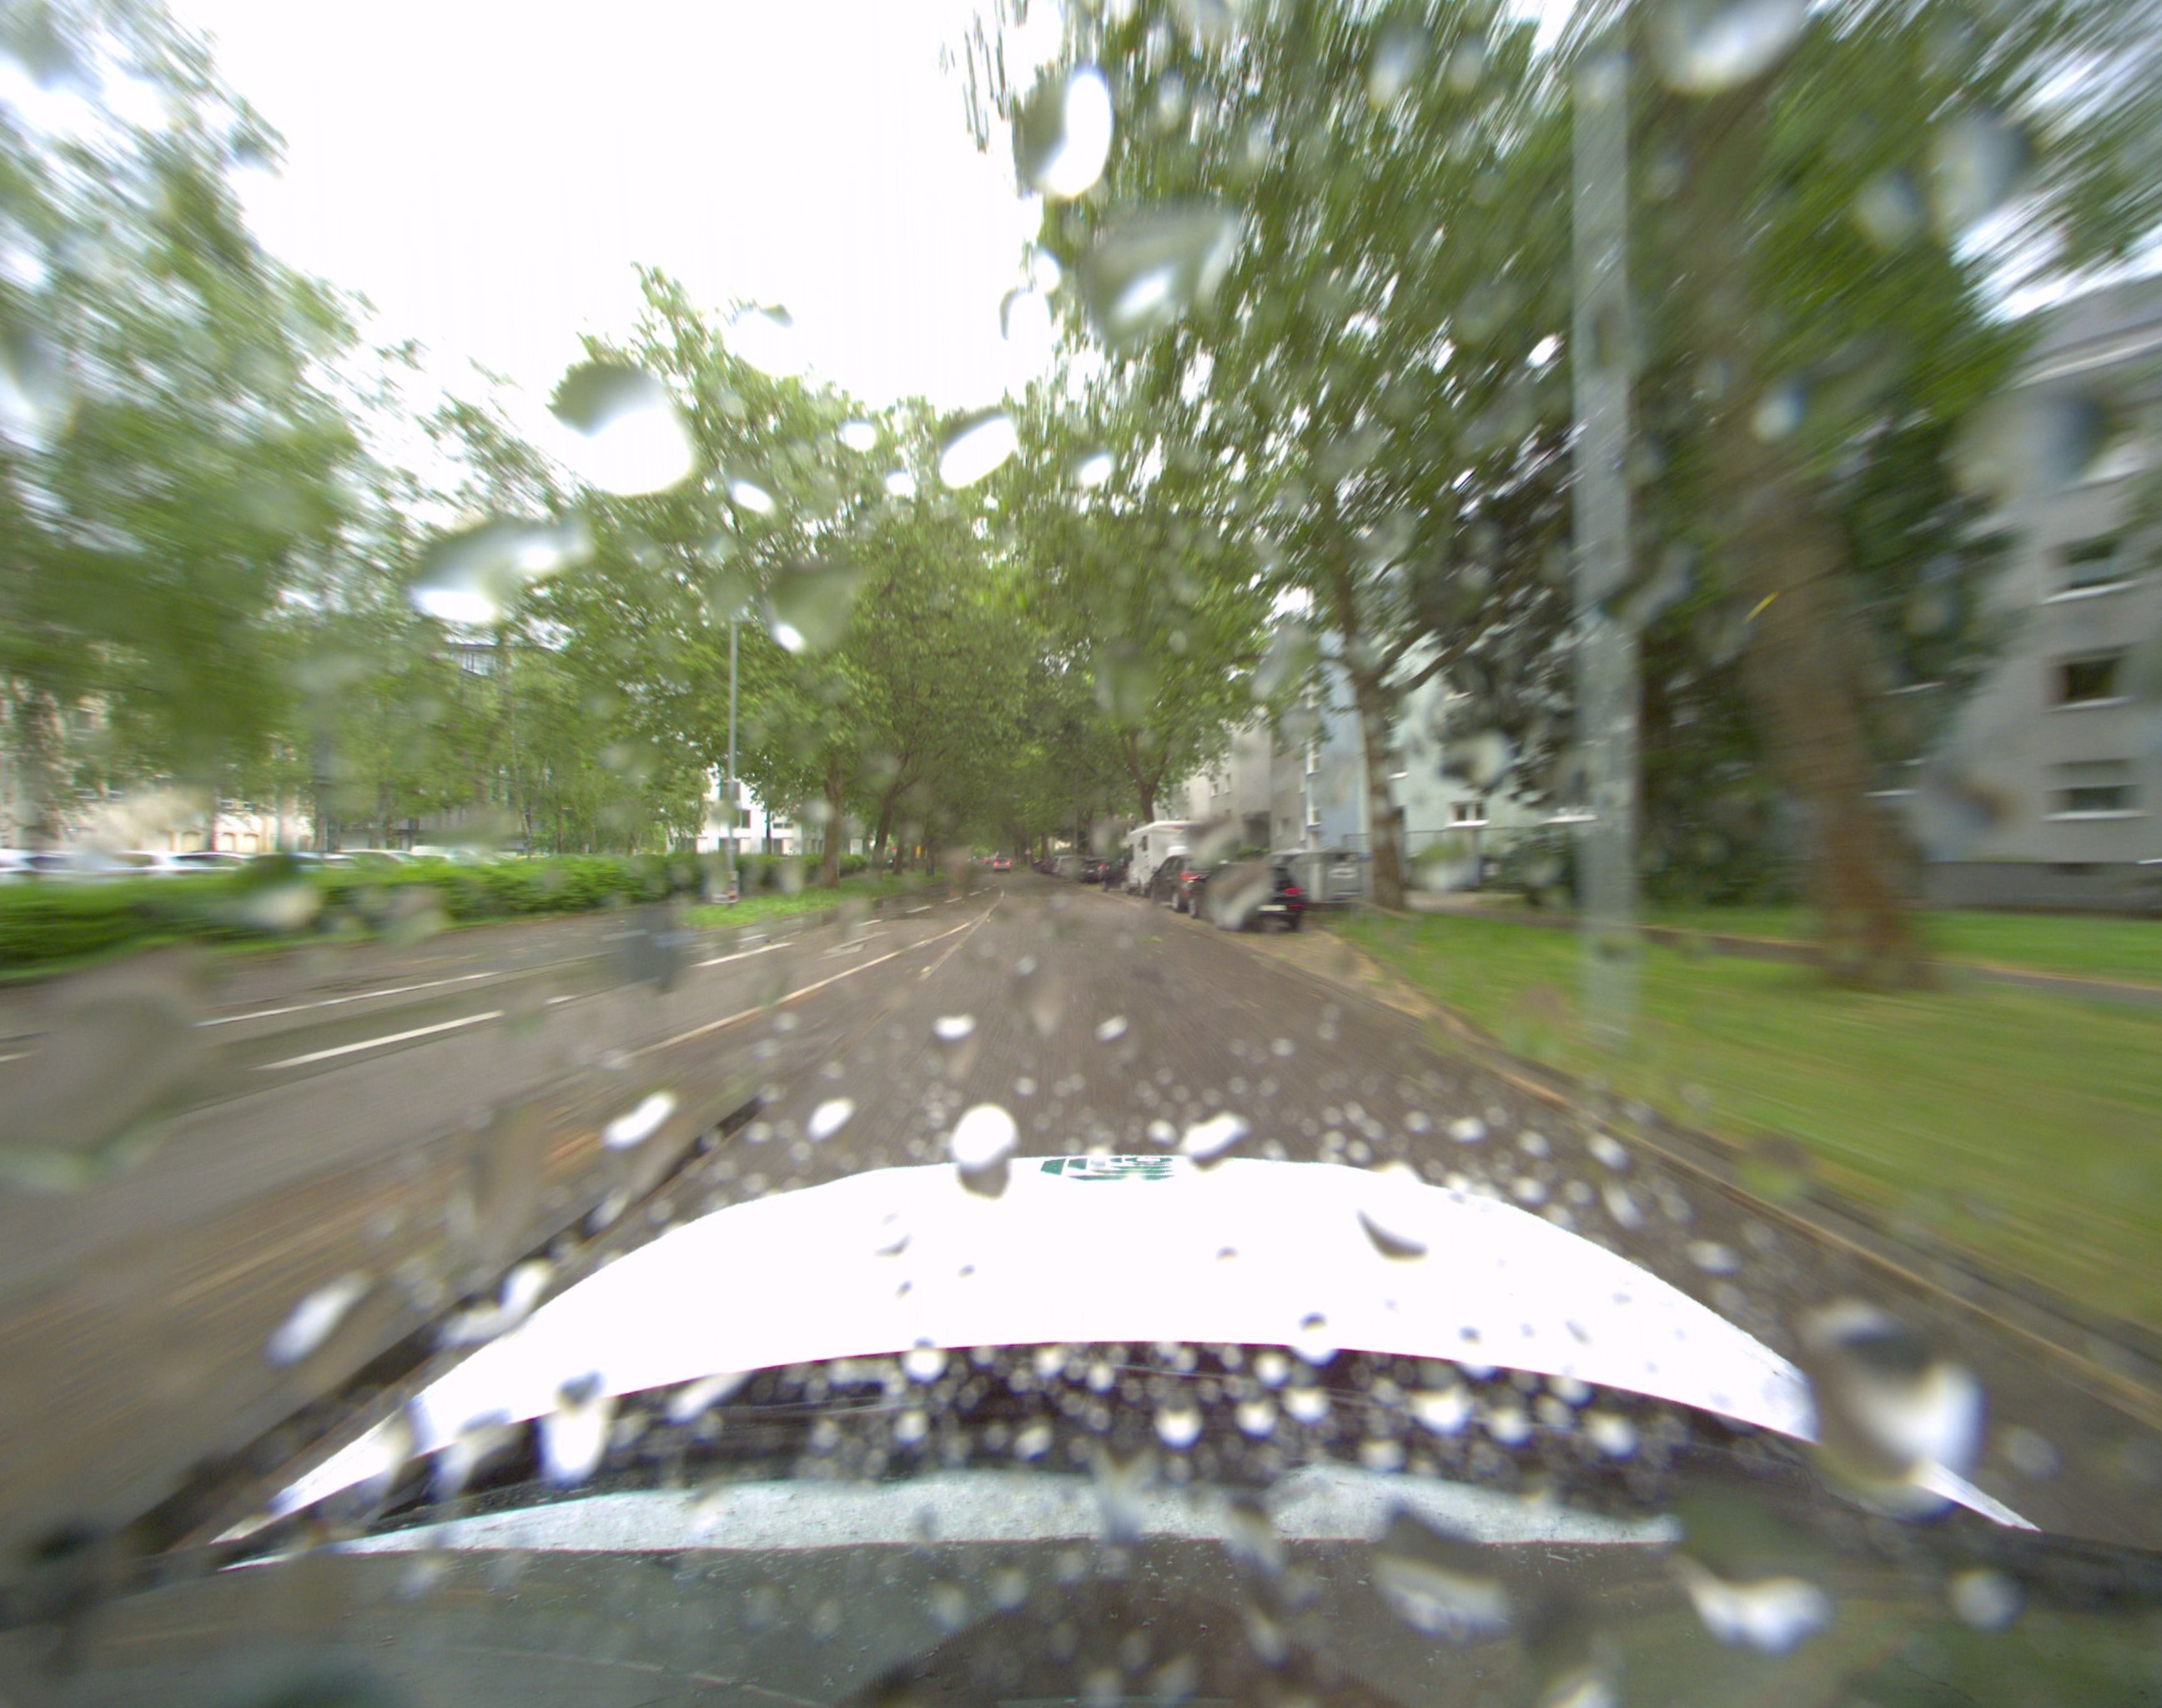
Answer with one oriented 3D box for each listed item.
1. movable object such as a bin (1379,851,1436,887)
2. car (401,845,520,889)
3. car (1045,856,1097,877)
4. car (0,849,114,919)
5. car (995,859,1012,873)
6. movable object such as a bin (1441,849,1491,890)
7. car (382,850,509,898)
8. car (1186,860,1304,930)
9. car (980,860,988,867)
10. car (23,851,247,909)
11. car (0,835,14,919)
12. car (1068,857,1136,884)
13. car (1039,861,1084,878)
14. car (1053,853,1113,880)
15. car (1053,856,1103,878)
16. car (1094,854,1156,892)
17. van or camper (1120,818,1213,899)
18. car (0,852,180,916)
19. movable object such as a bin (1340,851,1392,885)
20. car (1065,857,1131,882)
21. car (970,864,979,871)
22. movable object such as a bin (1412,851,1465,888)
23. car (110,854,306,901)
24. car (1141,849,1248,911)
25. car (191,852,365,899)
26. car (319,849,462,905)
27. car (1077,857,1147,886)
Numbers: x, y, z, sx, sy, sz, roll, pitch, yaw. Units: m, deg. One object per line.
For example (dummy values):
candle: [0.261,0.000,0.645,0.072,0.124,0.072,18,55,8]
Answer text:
movable object such as a bin: [13.447,0.607,33.622,1.218,1.432,1.848,1,0,-25]
car: [-29.458,0.590,38.793,3.982,2.013,1.996,-1,0,-7]
car: [-0.905,1.075,70.887,4.334,1.762,1.814,1,0,-7]
car: [-25.960,0.672,19.200,3.807,1.599,1.712,1,0,-10]
car: [-8.382,1.307,87.573,1.705,1.411,3.635,-2,0,-7]
movable object such as a bin: [14.504,0.577,30.672,1.164,1.473,1.213,-3,1,-25]
car: [-28.343,0.855,36.455,3.982,2.013,1.996,-1,0,-7]
car: [3.582,0.843,18.495,1.546,1.390,4.142,1,0,-5]
car: [-20.904,2.010,174.969,1.705,1.411,3.635,-2,0,-7]
car: [-27.369,0.744,23.706,3.983,1.599,1.850,1,0,-7]
car: [-25.416,0.471,16.715,3.988,1.833,1.848,1,0,-11]
car: [1.316,0.994,50.649,4.018,1.601,1.783,1,0,-37]
car: [-1.894,1.434,77.812,4.036,1.441,1.679,-2,0,-11]
car: [0.152,0.844,57.658,3.884,1.697,1.818,-2,1,-35]
car: [-0.278,1.050,67.436,3.983,1.727,1.797,1,0,-7]
car: [1.971,0.836,37.022,1.694,1.653,2.923,1,0,-23]
van or camper: [3.127,0.198,31.661,2.315,2.807,6.850,1,-1,-5]
car: [-27.048,0.761,21.556,3.983,1.599,1.850,1,0,-7]
movable object such as a bin: [12.354,0.611,35.363,1.218,1.432,1.848,1,0,-25]
car: [1.157,1.022,54.761,4.016,1.601,2.014,1,0,-35]
car: [-21.538,2.740,165.099,1.677,1.388,4.538,-1,0,-7]
movable object such as a bin: [14.094,0.592,32.118,1.323,1.432,1.359,1,0,-25]
car: [-27.598,0.725,25.874,3.980,1.374,1.882,0,-1,-5]
car: [3.174,0.761,23.715,1.915,1.620,4.440,1,-2,-8]
car: [-28.019,0.735,28.540,3.980,1.551,1.882,1,-1,-5]
car: [-28.176,0.905,33.373,3.982,2.133,1.996,-1,0,-6]
car: [1.800,0.992,47.080,3.786,1.601,1.783,1,0,-37]
